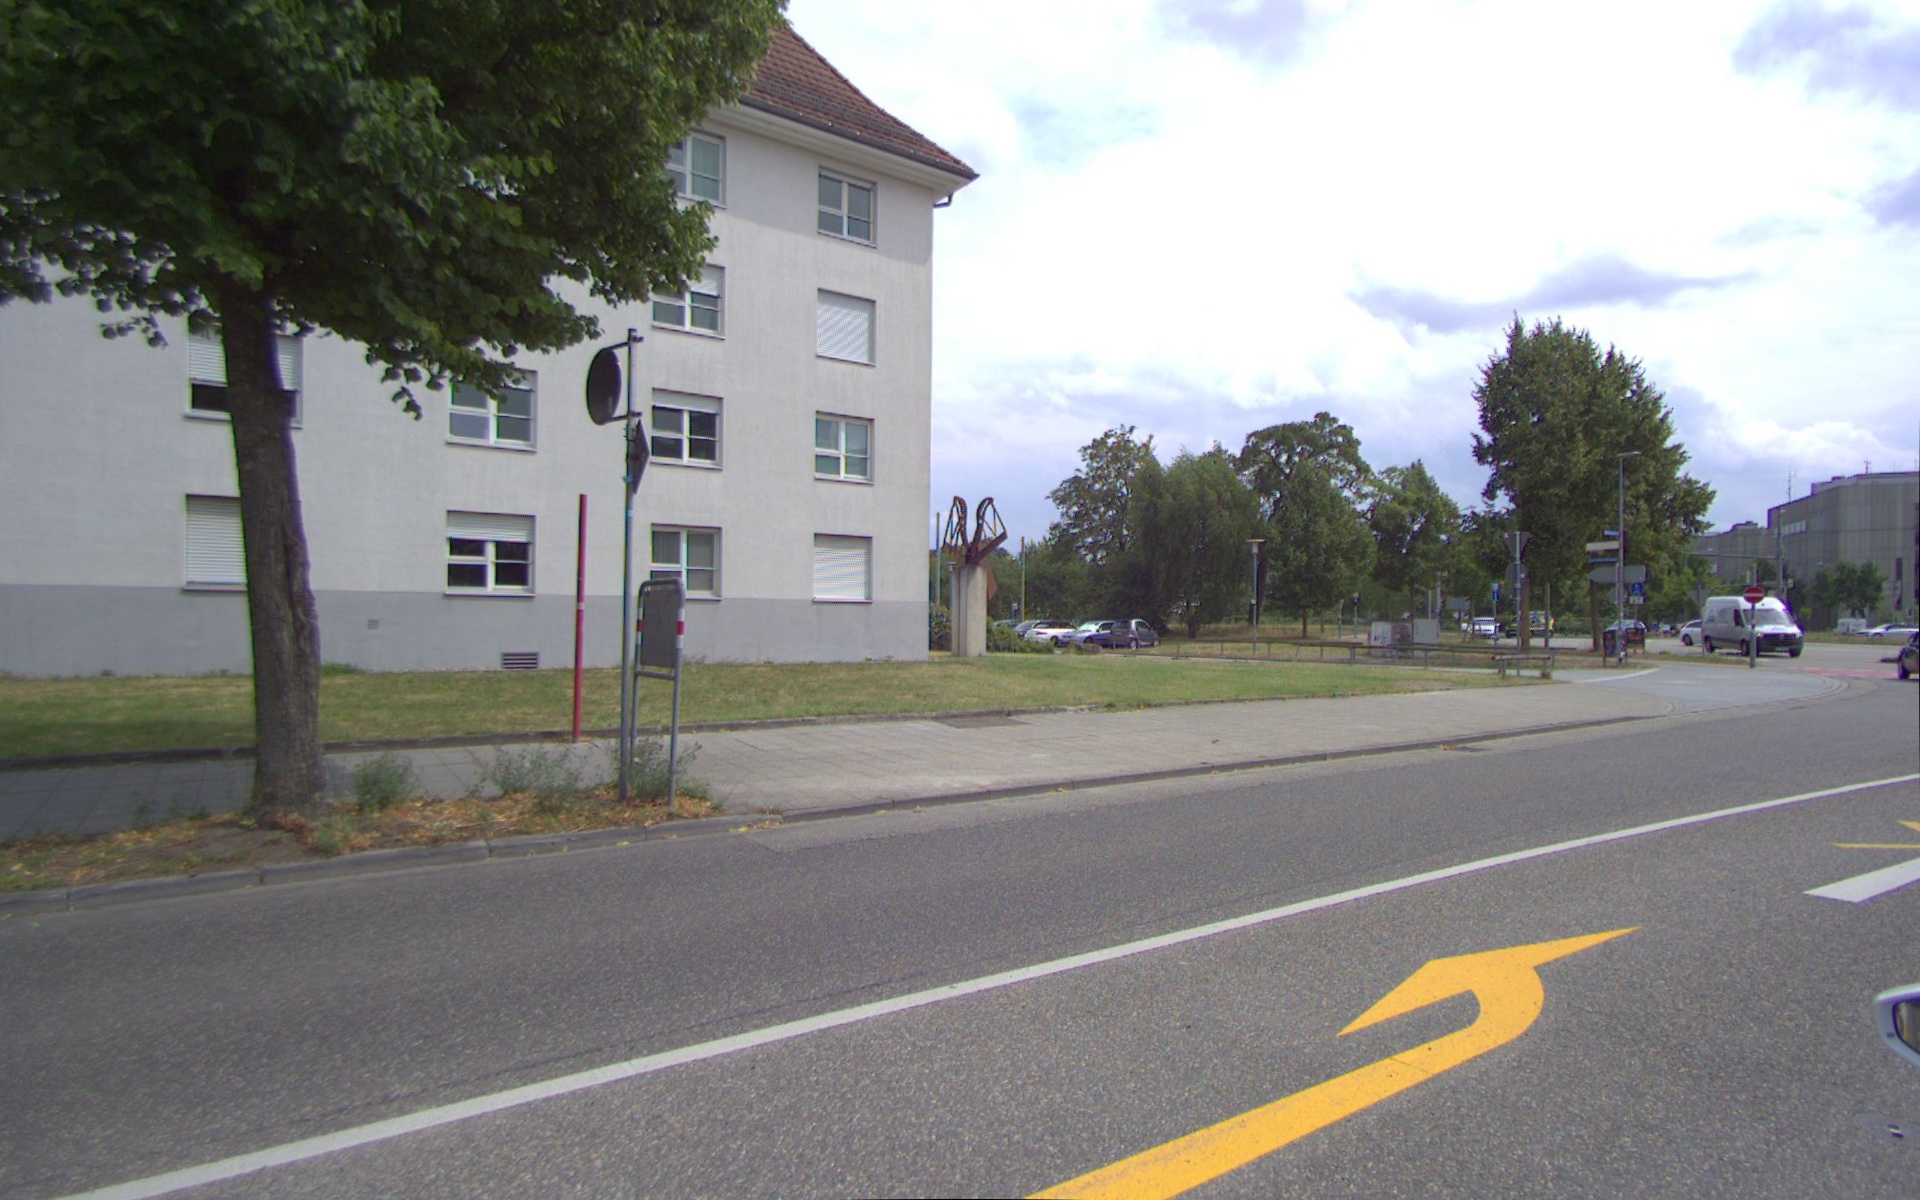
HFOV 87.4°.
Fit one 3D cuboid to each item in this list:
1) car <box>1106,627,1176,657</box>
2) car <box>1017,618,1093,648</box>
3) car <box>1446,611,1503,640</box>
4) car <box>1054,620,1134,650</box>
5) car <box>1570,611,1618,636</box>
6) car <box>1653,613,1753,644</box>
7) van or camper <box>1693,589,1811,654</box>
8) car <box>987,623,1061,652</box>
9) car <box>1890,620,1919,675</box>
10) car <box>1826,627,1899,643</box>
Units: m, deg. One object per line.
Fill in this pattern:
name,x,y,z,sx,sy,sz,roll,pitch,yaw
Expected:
car,9.570,2.182,53.023,3.603,1.497,1.647,0,-2,-39
car,5.368,1.820,56.456,4.100,1.612,1.796,0,-1,-37
car,37.101,1.876,72.549,1.961,2.040,4.000,-1,-2,-1
car,7.265,1.849,54.276,4.094,1.529,1.798,0,-1,-33
car,46.545,1.744,73.831,1.960,1.795,4.002,-1,-2,17
car,40.494,1.518,54.921,1.828,1.600,5.044,1,0,1
van or camper,35.952,0.987,45.832,2.114,2.761,6.279,-1,-2,18
car,3.739,2.150,58.138,4.100,1.612,1.796,0,-1,-37
car,27.388,1.302,27.805,1.748,1.498,4.244,0,-1,34
car,71.866,2.807,80.063,3.923,1.208,1.685,-1,-2,23
